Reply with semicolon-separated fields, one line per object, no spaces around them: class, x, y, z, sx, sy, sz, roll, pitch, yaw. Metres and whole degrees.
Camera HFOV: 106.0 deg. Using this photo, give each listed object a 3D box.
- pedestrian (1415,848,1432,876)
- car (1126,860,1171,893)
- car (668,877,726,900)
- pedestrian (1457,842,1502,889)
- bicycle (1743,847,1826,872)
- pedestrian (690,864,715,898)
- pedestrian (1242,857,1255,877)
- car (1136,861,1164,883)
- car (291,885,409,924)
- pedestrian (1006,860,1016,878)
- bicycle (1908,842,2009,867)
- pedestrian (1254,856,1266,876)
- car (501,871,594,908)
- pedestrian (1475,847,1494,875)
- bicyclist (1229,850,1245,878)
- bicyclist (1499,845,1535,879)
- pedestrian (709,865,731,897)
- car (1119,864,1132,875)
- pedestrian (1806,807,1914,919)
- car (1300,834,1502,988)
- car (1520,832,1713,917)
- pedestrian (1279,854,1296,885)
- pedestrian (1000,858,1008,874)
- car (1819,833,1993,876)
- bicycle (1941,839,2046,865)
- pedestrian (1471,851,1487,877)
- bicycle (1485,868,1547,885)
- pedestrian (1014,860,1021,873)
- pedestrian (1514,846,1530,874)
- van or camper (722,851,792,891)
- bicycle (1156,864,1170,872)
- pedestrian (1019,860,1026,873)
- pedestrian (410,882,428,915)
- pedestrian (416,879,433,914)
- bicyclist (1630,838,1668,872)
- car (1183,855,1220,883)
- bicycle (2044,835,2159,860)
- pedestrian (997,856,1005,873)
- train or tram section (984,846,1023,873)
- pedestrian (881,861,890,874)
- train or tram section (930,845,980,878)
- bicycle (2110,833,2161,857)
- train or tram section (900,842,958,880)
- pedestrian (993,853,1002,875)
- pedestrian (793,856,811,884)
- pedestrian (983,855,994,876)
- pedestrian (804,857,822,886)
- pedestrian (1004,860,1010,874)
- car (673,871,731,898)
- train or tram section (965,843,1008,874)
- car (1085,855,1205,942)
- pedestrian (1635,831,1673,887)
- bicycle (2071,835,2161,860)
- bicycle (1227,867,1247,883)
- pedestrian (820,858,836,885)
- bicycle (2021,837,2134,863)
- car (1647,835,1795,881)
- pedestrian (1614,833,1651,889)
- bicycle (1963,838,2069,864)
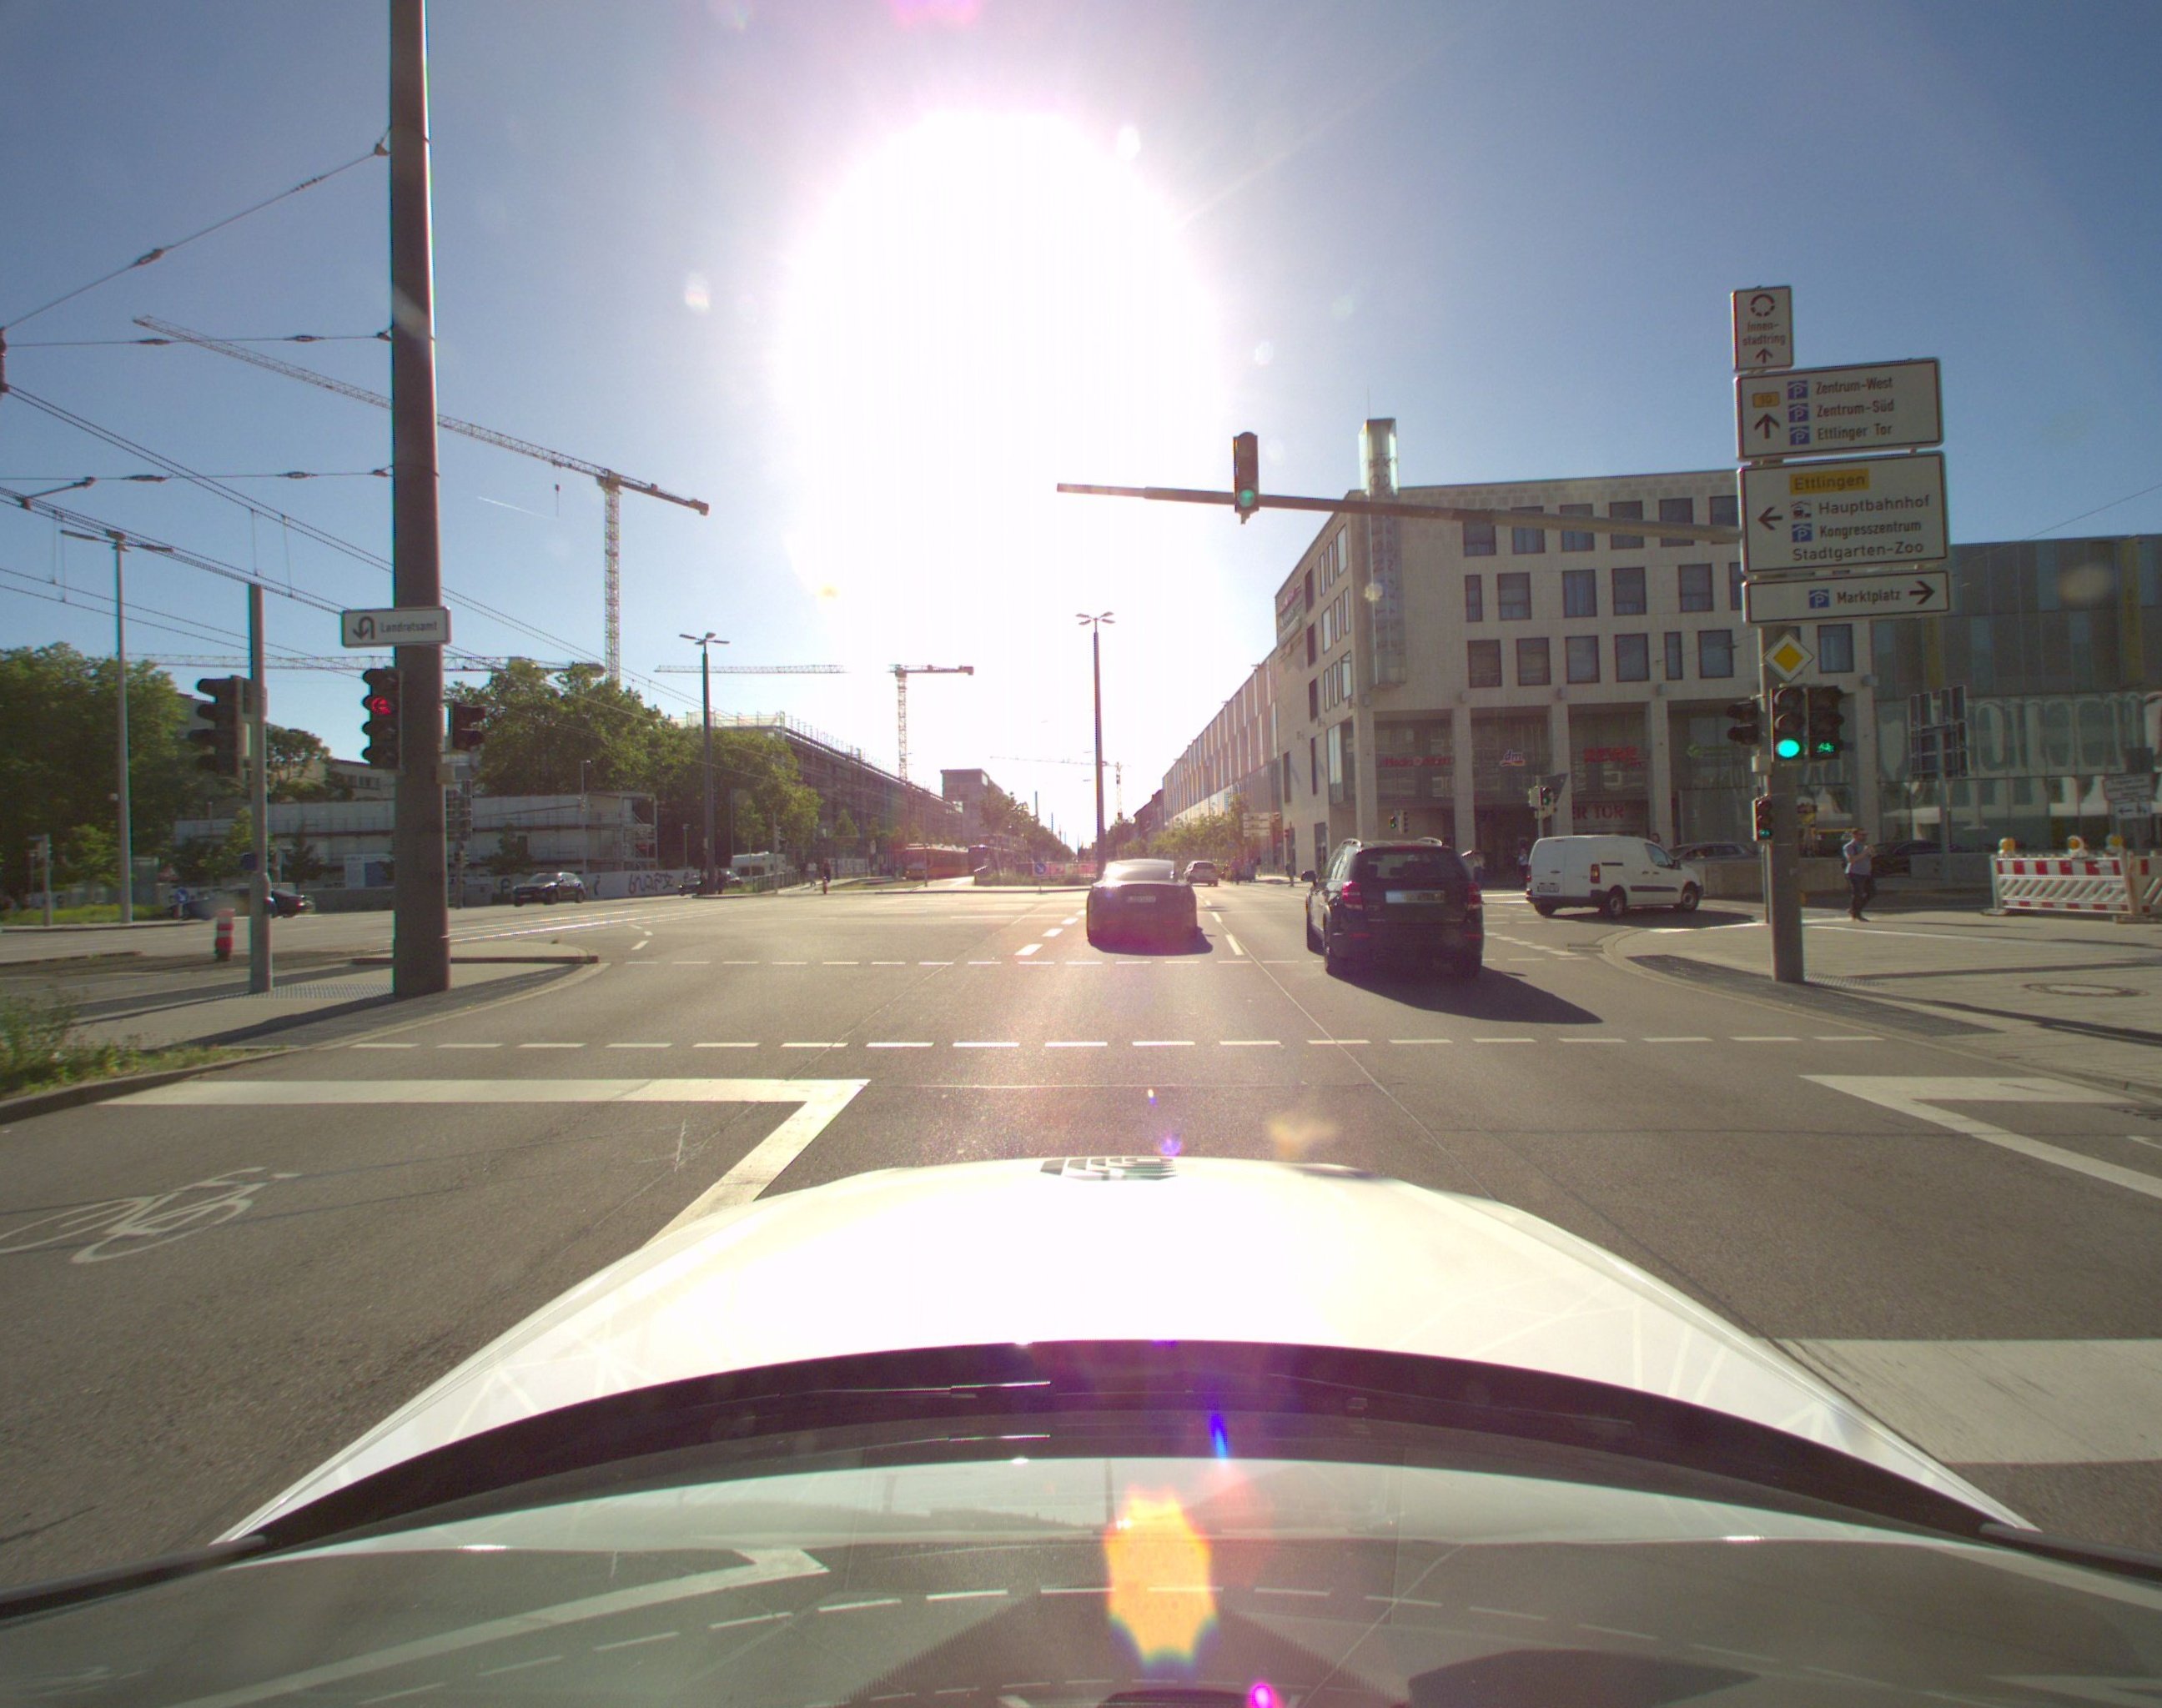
pedestrian;20.503;0.466;48.763;0.745;1.608;0.556;-2;0;-1
car;2.847;0.920;34.953;1.710;1.320;4.001;-1;0;1
car;-29.600;2.665;62.953;1.986;1.561;4.832;-2;-1;2
pedestrian;16.146;0.467;33.049;0.963;1.801;1.523;-3;-1;1
bicycle;33.167;0.245;38.497;1.061;1.094;3.500;-1;-1;3
pedestrian;-20.833;1.497;44.824;0.792;1.823;0.887;-2;-1;33
pedestrian;13.962;1.097;67.741;0.819;1.658;0.899;-1;-1;-4
car;4.890;1.242;57.964;1.710;1.432;4.001;-1;0;1
car;-35.276;2.396;39.443;4.018;1.601;1.978;-1;-1;-36
pedestrian;-6.468;1.390;75.331;0.739;1.628;0.862;-1;-1;1
bicycle;40.809;0.034;37.982;1.061;1.094;3.500;-1;-1;3
pedestrian;14.808;0.995;67.423;0.705;1.658;0.899;-3;-1;-4
car;-27.527;1.773;42.198;1.989;1.707;4.554;-1;-1;-4
pedestrian;23.639;0.388;47.758;0.720;1.608;0.750;-2;0;1
bicyclist;10.111;0.639;52.870;0.723;1.737;0.996;-2;-1;-3
bicyclist;19.315;0.344;36.130;1.017;1.476;1.073;-2;-1;4
pedestrian;-20.560;1.528;46.379;0.798;1.823;0.975;-2;-1;-2
car;6.967;2.451;127.078;1.880;1.596;4.004;-2;0;3
pedestrian;14.693;0.166;15.390;0.947;2.014;1.076;-1;-1;-10
car;4.176;0.654;11.355;1.773;1.699;4.425;-1;0;10
car;12.230;0.411;18.596;4.171;1.734;1.775;-1;0;-26
pedestrian;11.364;0.850;44.881;0.655;1.702;0.697;-4;-1;-1
pedestrian;-8.654;1.365;91.527;0.669;1.811;1.074;-2;-1;0
car;31.437;0.060;31.139;4.586;1.421;1.862;-2;-2;3
bicycle;41.936;-0.081;37.518;1.061;1.094;3.500;-1;-1;3
pedestrian;25.206;0.635;51.579;0.559;1.608;0.742;-2;0;-36
bicycle;19.281;0.979;36.111;2.183;0.671;1.073;-2;-1;4
pedestrian;-7.909;1.579;101.568;0.739;1.628;0.862;-1;-1;1
pedestrian;27.849;0.367;51.407;0.559;1.762;0.643;-2;0;-36
van or camper;-25.507;1.292;64.493;2.597;2.937;7.339;-2;-1;0
bicycle;12.362;2.082;123.097;1.881;1.151;0.669;-3;-1;-10
pedestrian;-7.438;1.569;103.052;0.739;1.628;0.862;-1;-1;1
pedestrian;-37.396;2.497;46.001;0.704;1.823;0.589;-1;-1;-37
pedestrian;-35.829;2.310;44.455;0.704;1.823;0.589;-1;-1;-37
bicyclist;24.984;0.052;35.826;0.929;1.433;1.042;-2;-1;4
car;7.195;0.880;48.943;1.778;1.546;4.040;-1;0;2
bicycle;47.137;-0.279;37.704;1.061;1.094;3.500;-1;-1;3
pedestrian;-8.078;1.043;82.274;0.789;1.775;0.978;0;0;-2
train or tram section;-10.388;0.781;112.054;2.860;3.280;22.143;0;-1;1
pedestrian;-18.058;1.254;75.174;0.669;1.226;0.505;0;-1;-2
train or tram section;-13.786;0.852;90.810;2.838;3.321;15.965;0;-1;1
bicycle;49.887;-0.415;37.362;1.061;1.094;3.500;-1;-1;3
train or tram section;-13.993;0.671;76.259;2.860;3.310;13.072;0;-1;1
pedestrian;-7.072;0.839;68.934;0.701;1.775;0.958;0;0;-2
pedestrian;-18.439;1.046;53.880;0.798;1.823;0.975;-2;-1;-2
pedestrian;-8.184;1.015;71.953;0.872;1.775;1.188;0;0;-2
pedestrian;-17.160;1.085;52.149;0.798;1.823;0.975;-2;-1;-2
pedestrian;-7.910;1.379;86.952;0.645;1.512;0.588;0;0;-2
car;-26.047;2.054;56.180;1.939;1.707;4.365;-2;-1;-1
train or tram section;-10.633;0.568;93.398;2.860;3.280;15.184;0;-1;1
car;1.158;0.766;15.888;1.991;1.434;4.414;-1;-1;2
pedestrian;16.863;0.145;23.984;0.659;1.612;0.525;-3;-1;-8
bicycle;48.295;-0.301;37.606;1.061;1.094;3.500;-1;-1;3
bicycle;10.113;1.364;52.935;0.727;0.983;2.330;1;-1;-3
pedestrian;-17.353;1.186;55.855;0.798;1.823;0.975;-2;-1;-2
bicycle;45.926;-0.155;37.636;1.061;1.094;3.500;-1;-1;3
car;24.899;0.194;31.801;4.168;1.613;1.862;-2;-2;3
pedestrian;16.658;0.211;24.602;0.659;1.612;0.525;-3;-1;-8
bicycle;43.386;-0.114;37.887;1.061;1.094;3.500;-1;-1;3
